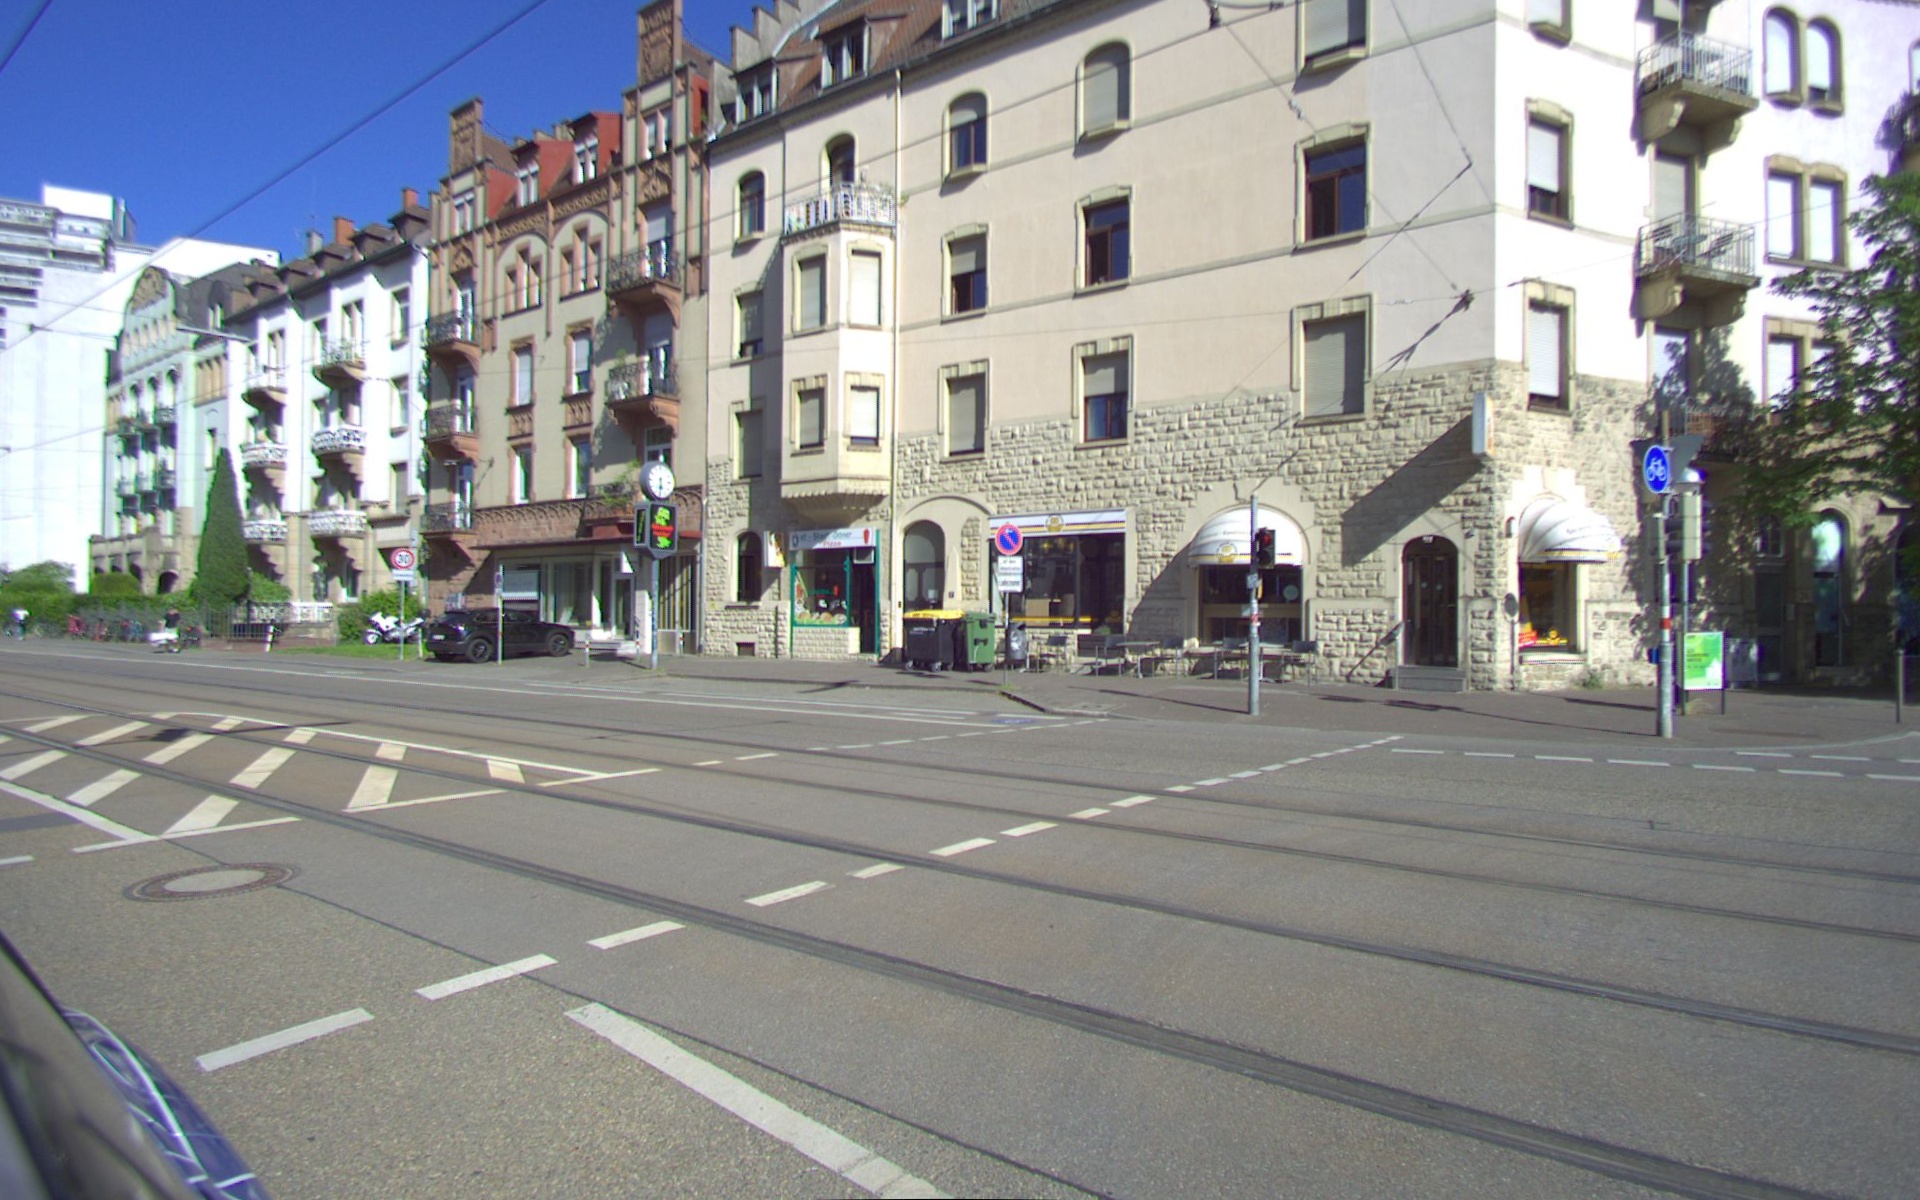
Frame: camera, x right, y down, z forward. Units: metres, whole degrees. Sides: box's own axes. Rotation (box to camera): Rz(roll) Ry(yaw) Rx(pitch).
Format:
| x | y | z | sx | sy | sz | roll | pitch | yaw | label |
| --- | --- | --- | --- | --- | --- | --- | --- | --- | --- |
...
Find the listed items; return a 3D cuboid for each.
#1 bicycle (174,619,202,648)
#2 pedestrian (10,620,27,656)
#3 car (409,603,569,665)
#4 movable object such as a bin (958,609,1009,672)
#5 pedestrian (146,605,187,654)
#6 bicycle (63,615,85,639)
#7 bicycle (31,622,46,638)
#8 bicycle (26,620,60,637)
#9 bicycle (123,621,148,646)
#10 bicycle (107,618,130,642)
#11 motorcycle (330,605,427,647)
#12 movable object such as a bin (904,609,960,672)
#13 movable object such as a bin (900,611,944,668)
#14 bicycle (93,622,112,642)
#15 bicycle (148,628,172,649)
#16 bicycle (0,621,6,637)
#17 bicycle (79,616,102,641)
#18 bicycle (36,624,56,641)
| x | y | z | sx | sy | sz | roll | pitch | yaw | label |
| --- | --- | --- | --- | --- | --- | --- | --- | --- | --- |
| -28.820 | 1.242 | 37.774 | 1.746 | 1.047 | 0.400 | 0 | 0 | 37 | bicycle |
| -43.874 | 1.785 | 47.166 | 0.658 | 1.641 | 0.470 | 0 | 0 | 37 | pedestrian |
| -13.727 | 0.941 | 29.689 | 1.765 | 1.514 | 3.960 | 1 | 2 | 30 | car |
| 0.528 | 0.907 | 22.948 | 1.011 | 1.391 | 0.859 | 0 | 0 | -8 | movable object such as a bin |
| -28.181 | 1.046 | 35.941 | 0.869 | 1.640 | 0.859 | 0 | 4 | 37 | pedestrian |
| -39.791 | 1.219 | 45.427 | 1.813 | 1.031 | 0.400 | 0 | 0 | 37 | bicycle |
| -44.577 | 1.453 | 48.952 | 1.261 | 0.767 | 0.335 | 0 | 0 | 37 | bicycle |
| -46.621 | 1.443 | 51.481 | 0.297 | 0.799 | 1.247 | 0 | 0 | 37 | bicycle |
| -33.333 | 1.346 | 40.921 | 1.746 | 0.949 | 0.400 | 0 | 0 | 37 | bicycle |
| -34.999 | 1.236 | 42.088 | 1.646 | 0.949 | 0.400 | 0 | 0 | 37 | bicycle |
| -21.395 | 0.937 | 37.311 | 0.821 | 1.467 | 3.059 | 0 | 0 | 34 | motorcycle |
| -0.645 | 0.913 | 23.244 | 0.844 | 1.391 | 1.029 | 0 | 0 | -42 | movable object such as a bin |
| -0.909 | 0.933 | 24.284 | 0.844 | 1.335 | 0.658 | 0 | 0 | -42 | movable object such as a bin |
| -36.498 | 1.354 | 43.064 | 1.540 | 0.767 | 0.314 | 0 | 0 | 37 | bicycle |
| -30.728 | 1.478 | 38.862 | 1.649 | 0.767 | 0.314 | 0 | 0 | 37 | bicycle |
| -50.097 | 1.519 | 52.809 | 1.261 | 0.767 | 0.293 | 0 | 0 | 37 | bicycle |
| -37.903 | 1.241 | 44.104 | 1.813 | 1.031 | 0.400 | 0 | 0 | 37 | bicycle |
| -43.390 | 1.530 | 48.036 | 1.579 | 0.767 | 0.400 | 0 | 0 | 37 | bicycle |
